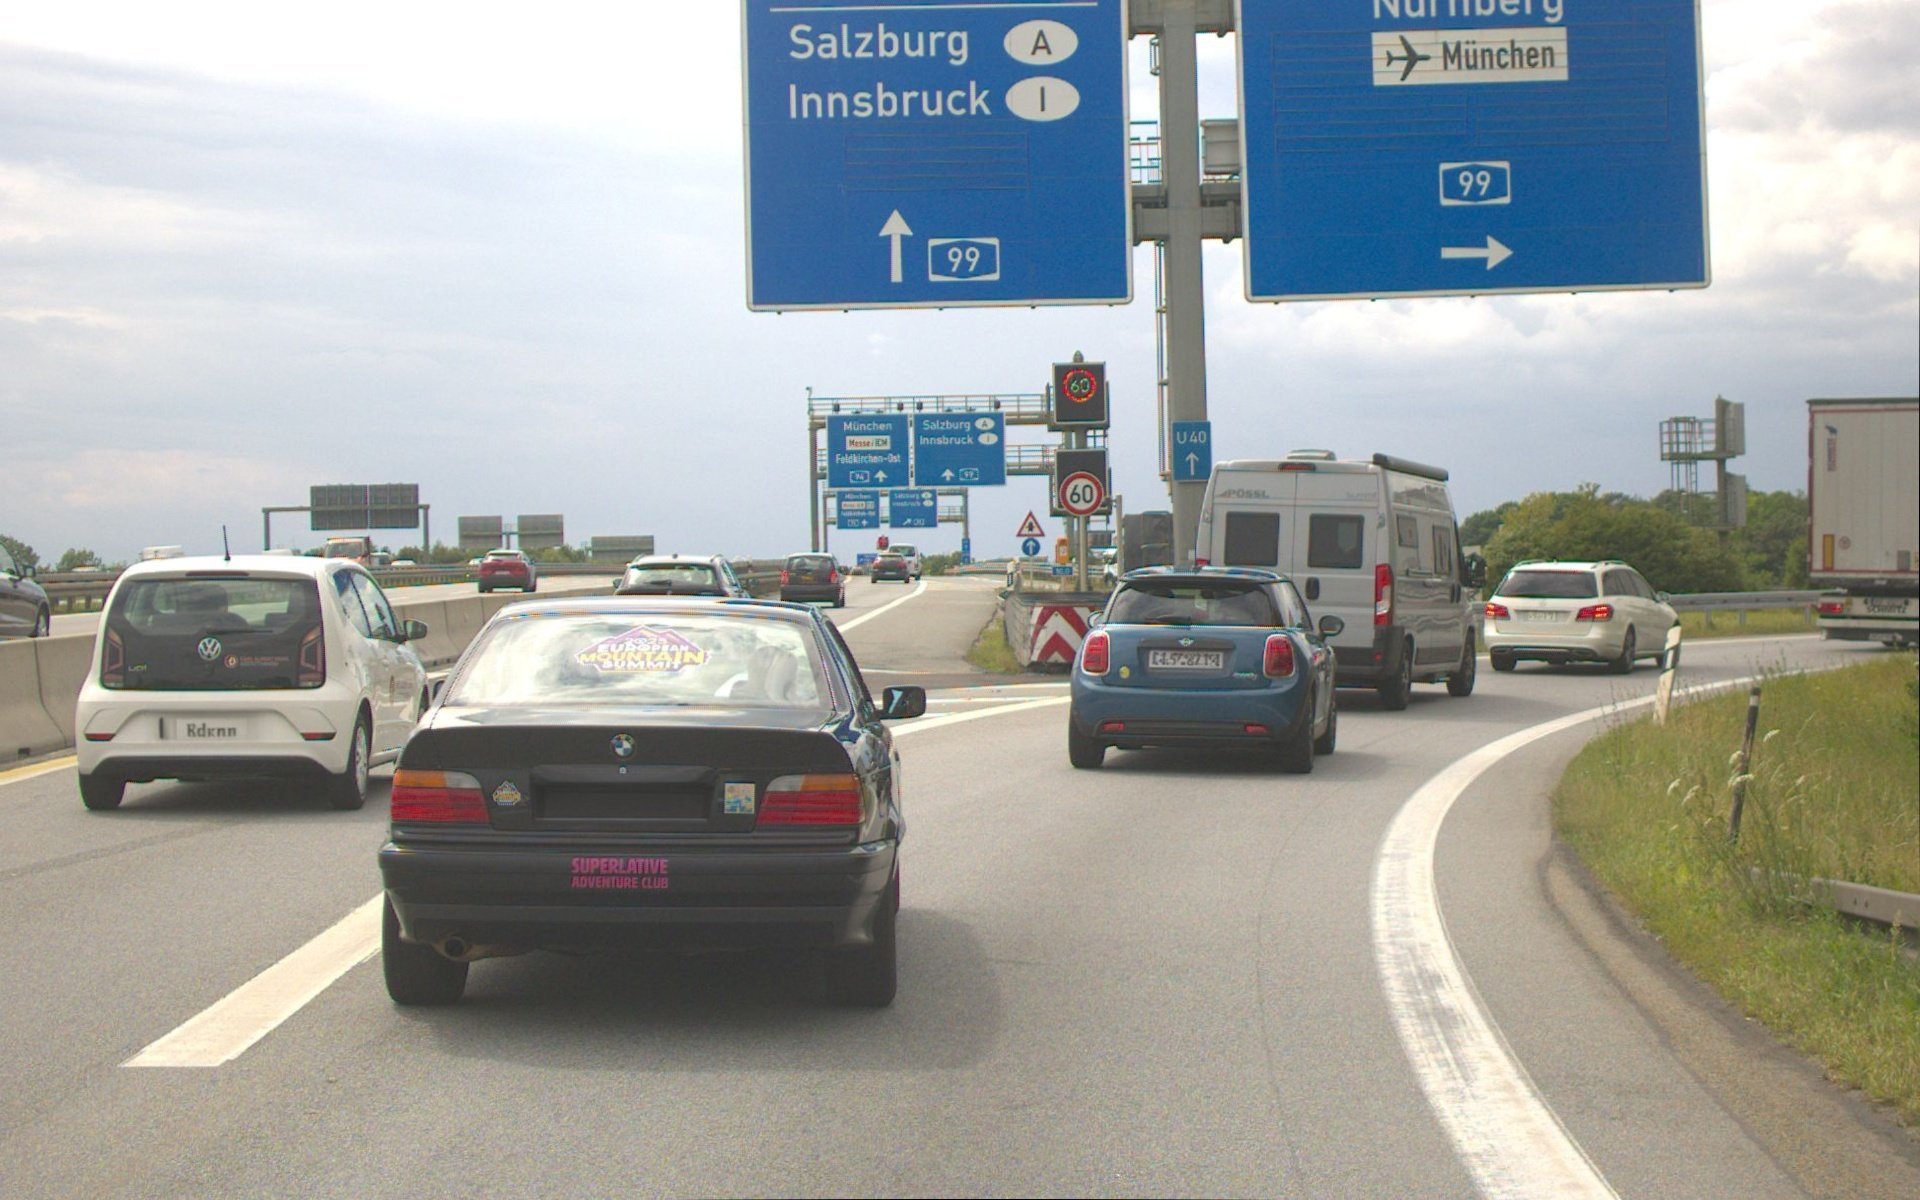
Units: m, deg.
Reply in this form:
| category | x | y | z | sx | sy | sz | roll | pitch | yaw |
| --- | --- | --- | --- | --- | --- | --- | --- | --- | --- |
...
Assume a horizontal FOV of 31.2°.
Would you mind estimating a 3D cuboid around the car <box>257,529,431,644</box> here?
| category | x | y | z | sx | sy | sz | roll | pitch | yaw |
| --- | --- | --- | --- | --- | --- | --- | --- | --- | --- |
| car | -9.398 | -0.232 | 52.743 | 1.993 | 1.700 | 4.000 | 0 | 1 | -1 |

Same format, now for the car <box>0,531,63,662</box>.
| category | x | y | z | sx | sy | sz | roll | pitch | yaw |
| --- | --- | --- | --- | --- | --- | --- | --- | --- | --- |
| car | -13.313 | -0.055 | 44.872 | 1.993 | 1.678 | 4.866 | 0 | 1 | -1 |

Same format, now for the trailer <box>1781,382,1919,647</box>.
| category | x | y | z | sx | sy | sz | roll | pitch | yaw |
| --- | --- | --- | --- | --- | --- | --- | --- | --- | --- |
| trailer | 18.269 | -1.422 | 59.901 | 3.337 | 4.179 | 13.007 | 1 | 1 | 34 |

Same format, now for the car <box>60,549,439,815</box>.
| category | x | y | z | sx | sy | sz | roll | pitch | yaw |
| --- | --- | --- | --- | --- | --- | --- | --- | --- | --- |
| car | -4.237 | 0.430 | 20.976 | 1.585 | 1.478 | 3.535 | 0 | 1 | 0 |

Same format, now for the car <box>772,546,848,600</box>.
| category | x | y | z | sx | sy | sz | roll | pitch | yaw |
| --- | --- | --- | --- | --- | --- | --- | --- | --- | --- |
| car | -3.997 | -0.734 | 92.283 | 1.866 | 1.419 | 4.000 | 0 | 1 | 0 |

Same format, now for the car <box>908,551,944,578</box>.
| category | x | y | z | sx | sy | sz | roll | pitch | yaw |
| --- | --- | --- | --- | --- | --- | --- | --- | --- | --- |
| car | -1.767 | -1.872 | 182.086 | 1.803 | 1.419 | 4.000 | 0 | 1 | 1 |

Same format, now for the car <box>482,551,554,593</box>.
| category | x | y | z | sx | sy | sz | roll | pitch | yaw |
| --- | --- | --- | --- | --- | --- | --- | --- | --- | --- |
| car | -15.810 | -1.021 | 123.077 | 1.993 | 1.463 | 4.000 | 0 | 1 | 1 |

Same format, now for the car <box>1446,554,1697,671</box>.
| category | x | y | z | sx | sy | sz | roll | pitch | yaw |
| --- | --- | --- | --- | --- | --- | --- | --- | --- | --- |
| car | 8.366 | 0.130 | 46.692 | 2.209 | 1.496 | 4.781 | 0 | 1 | 25 |

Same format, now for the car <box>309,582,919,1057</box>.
| category | x | y | z | sx | sy | sz | roll | pitch | yaw |
| --- | --- | --- | --- | --- | --- | --- | --- | --- | --- |
| car | -1.060 | 0.646 | 12.357 | 1.782 | 1.373 | 4.137 | 0 | 1 | 0 |

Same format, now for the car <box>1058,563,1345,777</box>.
| category | x | y | z | sx | sy | sz | roll | pitch | yaw |
| --- | --- | --- | --- | --- | --- | --- | --- | --- | --- |
| car | 1.852 | 0.456 | 25.349 | 1.730 | 1.414 | 3.664 | 1 | 1 | 10 |

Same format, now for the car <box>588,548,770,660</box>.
| category | x | y | z | sx | sy | sz | roll | pitch | yaw |
| --- | --- | --- | --- | --- | --- | --- | --- | --- | --- |
| car | -3.810 | 0.022 | 47.248 | 1.994 | 1.463 | 4.000 | 0 | 1 | 3 |

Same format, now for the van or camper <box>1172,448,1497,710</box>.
| category | x | y | z | sx | sy | sz | roll | pitch | yaw |
| --- | --- | --- | --- | --- | --- | --- | --- | --- | --- |
| van or camper | 4.135 | -0.252 | 36.843 | 2.295 | 2.559 | 6.155 | 0 | 1 | 17 |

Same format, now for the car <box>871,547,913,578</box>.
| category | x | y | z | sx | sy | sz | roll | pitch | yaw |
| --- | --- | --- | --- | --- | --- | --- | --- | --- | --- |
| car | -3.145 | -1.760 | 159.212 | 1.803 | 1.419 | 4.000 | 0 | 1 | 1 |
